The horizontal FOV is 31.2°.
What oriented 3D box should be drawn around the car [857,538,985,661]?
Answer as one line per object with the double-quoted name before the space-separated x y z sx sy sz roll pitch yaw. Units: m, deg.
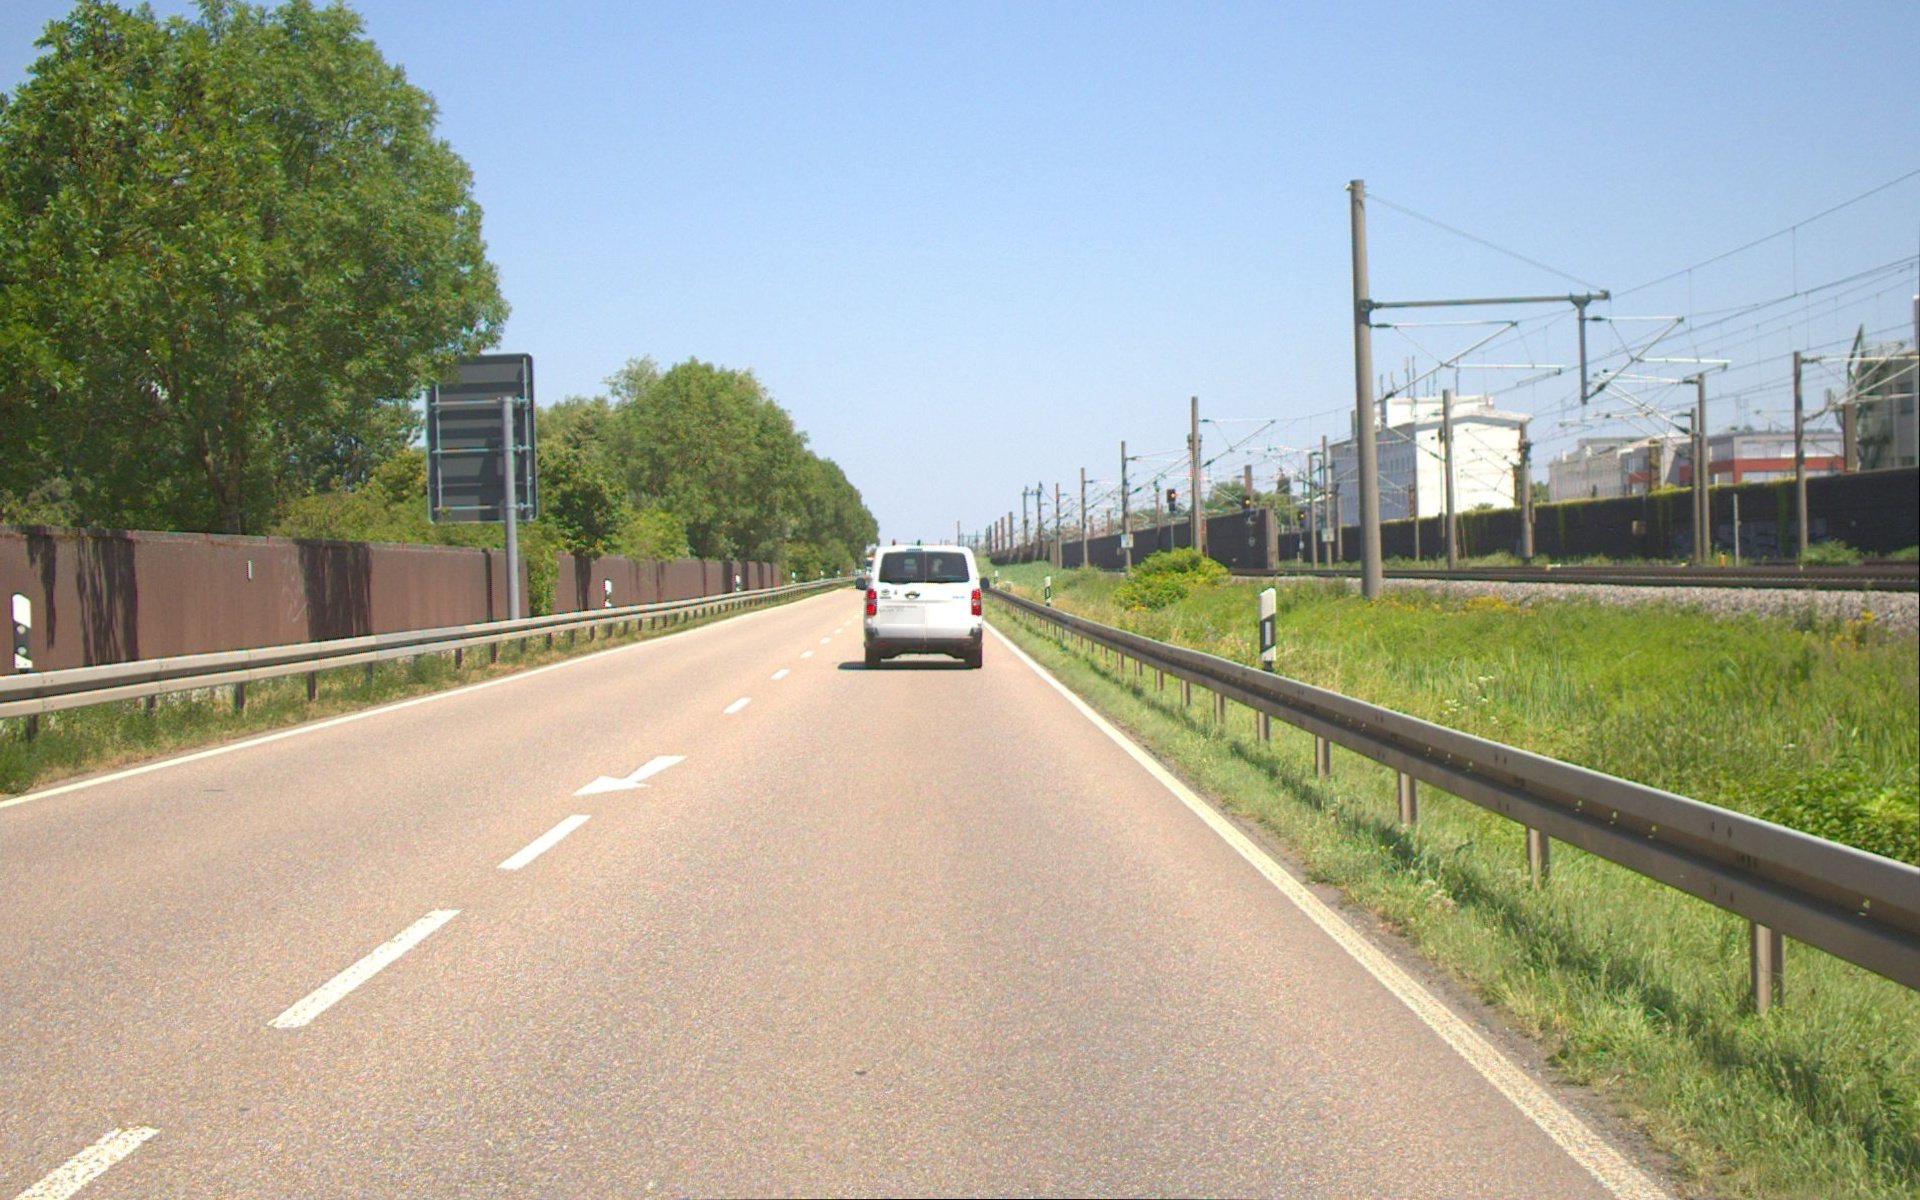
"car" -0.619 -0.020 54.943 1.945 1.875 4.881 0 0 -1
